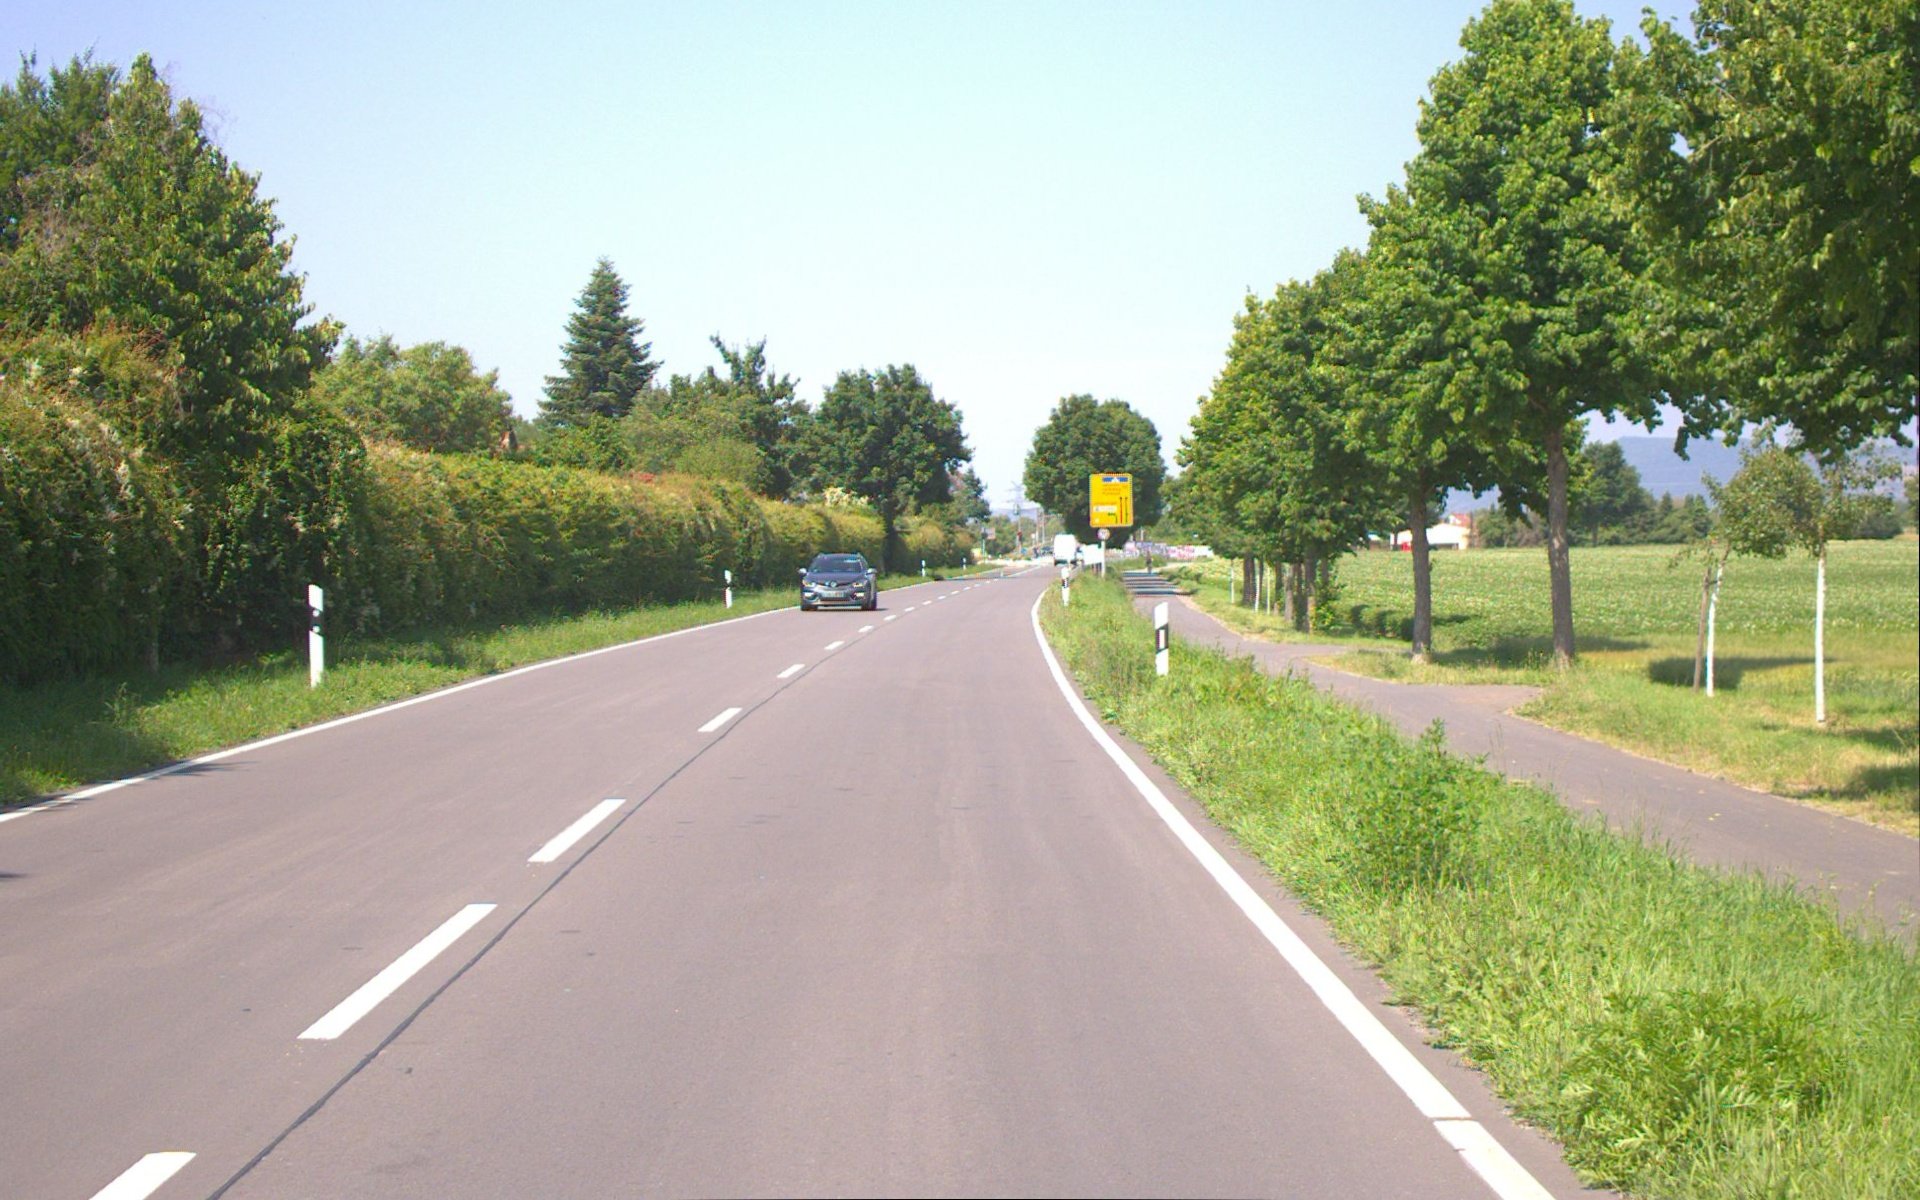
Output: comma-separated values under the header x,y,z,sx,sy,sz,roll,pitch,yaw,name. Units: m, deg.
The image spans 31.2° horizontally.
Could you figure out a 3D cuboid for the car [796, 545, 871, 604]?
x,y,z,sx,sy,sz,roll,pitch,yaw,name
-3.249,-0.683,88.931,1.840,1.462,3.933,-1,1,-1,car
